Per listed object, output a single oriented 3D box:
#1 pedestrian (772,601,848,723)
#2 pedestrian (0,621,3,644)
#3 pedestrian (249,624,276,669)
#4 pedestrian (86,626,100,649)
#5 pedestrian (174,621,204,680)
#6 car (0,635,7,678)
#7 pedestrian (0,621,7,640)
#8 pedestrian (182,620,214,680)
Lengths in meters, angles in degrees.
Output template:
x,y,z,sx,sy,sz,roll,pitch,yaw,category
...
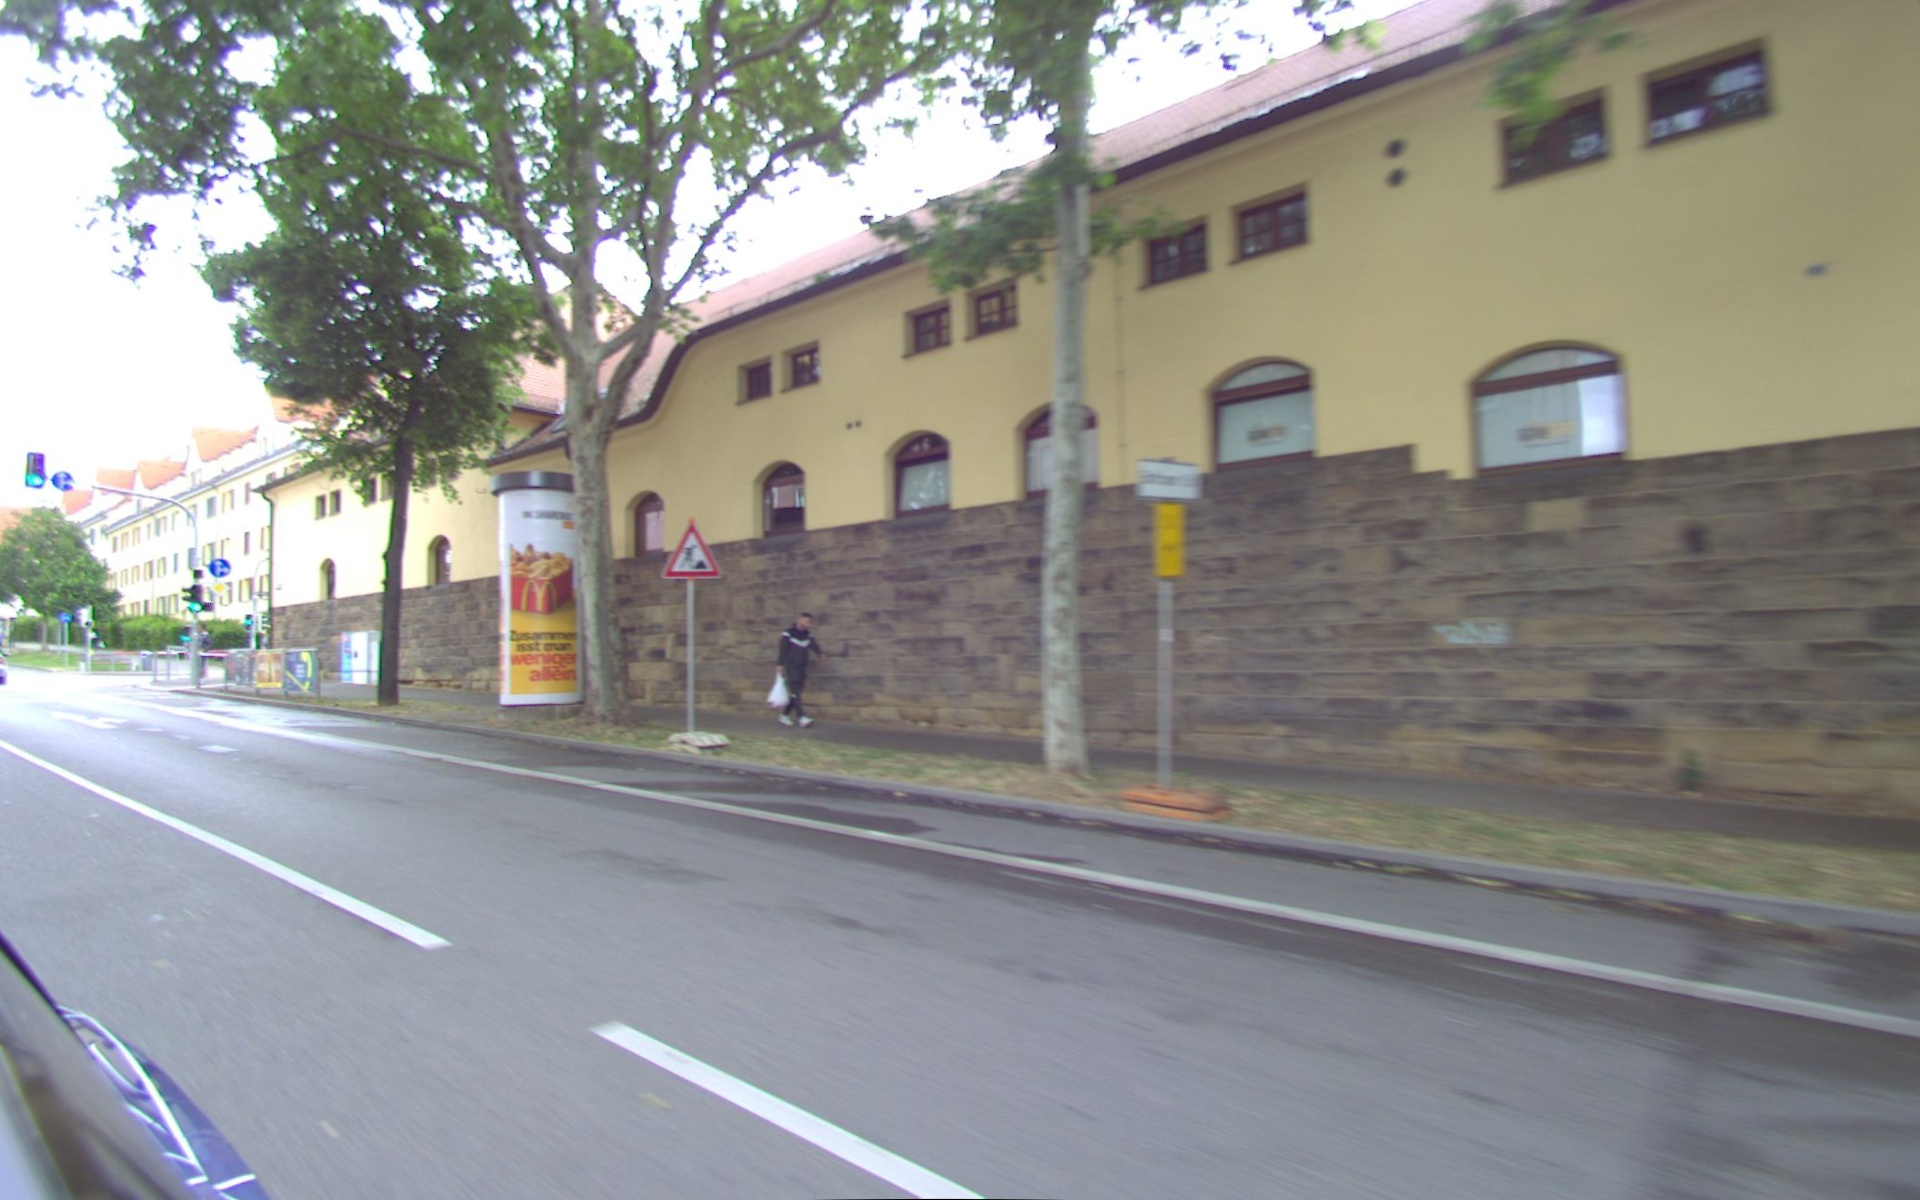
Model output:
x,y,z,sx,sy,sz,roll,pitch,yaw,category
-2.323,0.941,15.652,0.874,1.808,0.769,-2,-3,40,pedestrian
-73.998,2.509,77.769,0.861,1.740,0.591,-2,-2,42,pedestrian
-25.069,1.675,36.379,0.841,1.578,0.558,-2,-3,39,pedestrian
-62.055,2.657,72.436,0.617,1.631,0.634,-2,-3,39,pedestrian
-23.889,1.556,31.343,0.716,1.790,0.558,-2,-3,39,pedestrian
-31.487,1.712,31.908,4.094,1.285,1.667,-1,-5,42,car
-75.639,2.399,79.640,0.806,1.521,0.890,-2,-2,40,pedestrian
-22.931,1.502,30.462,0.841,1.790,0.558,-2,-3,39,pedestrian
